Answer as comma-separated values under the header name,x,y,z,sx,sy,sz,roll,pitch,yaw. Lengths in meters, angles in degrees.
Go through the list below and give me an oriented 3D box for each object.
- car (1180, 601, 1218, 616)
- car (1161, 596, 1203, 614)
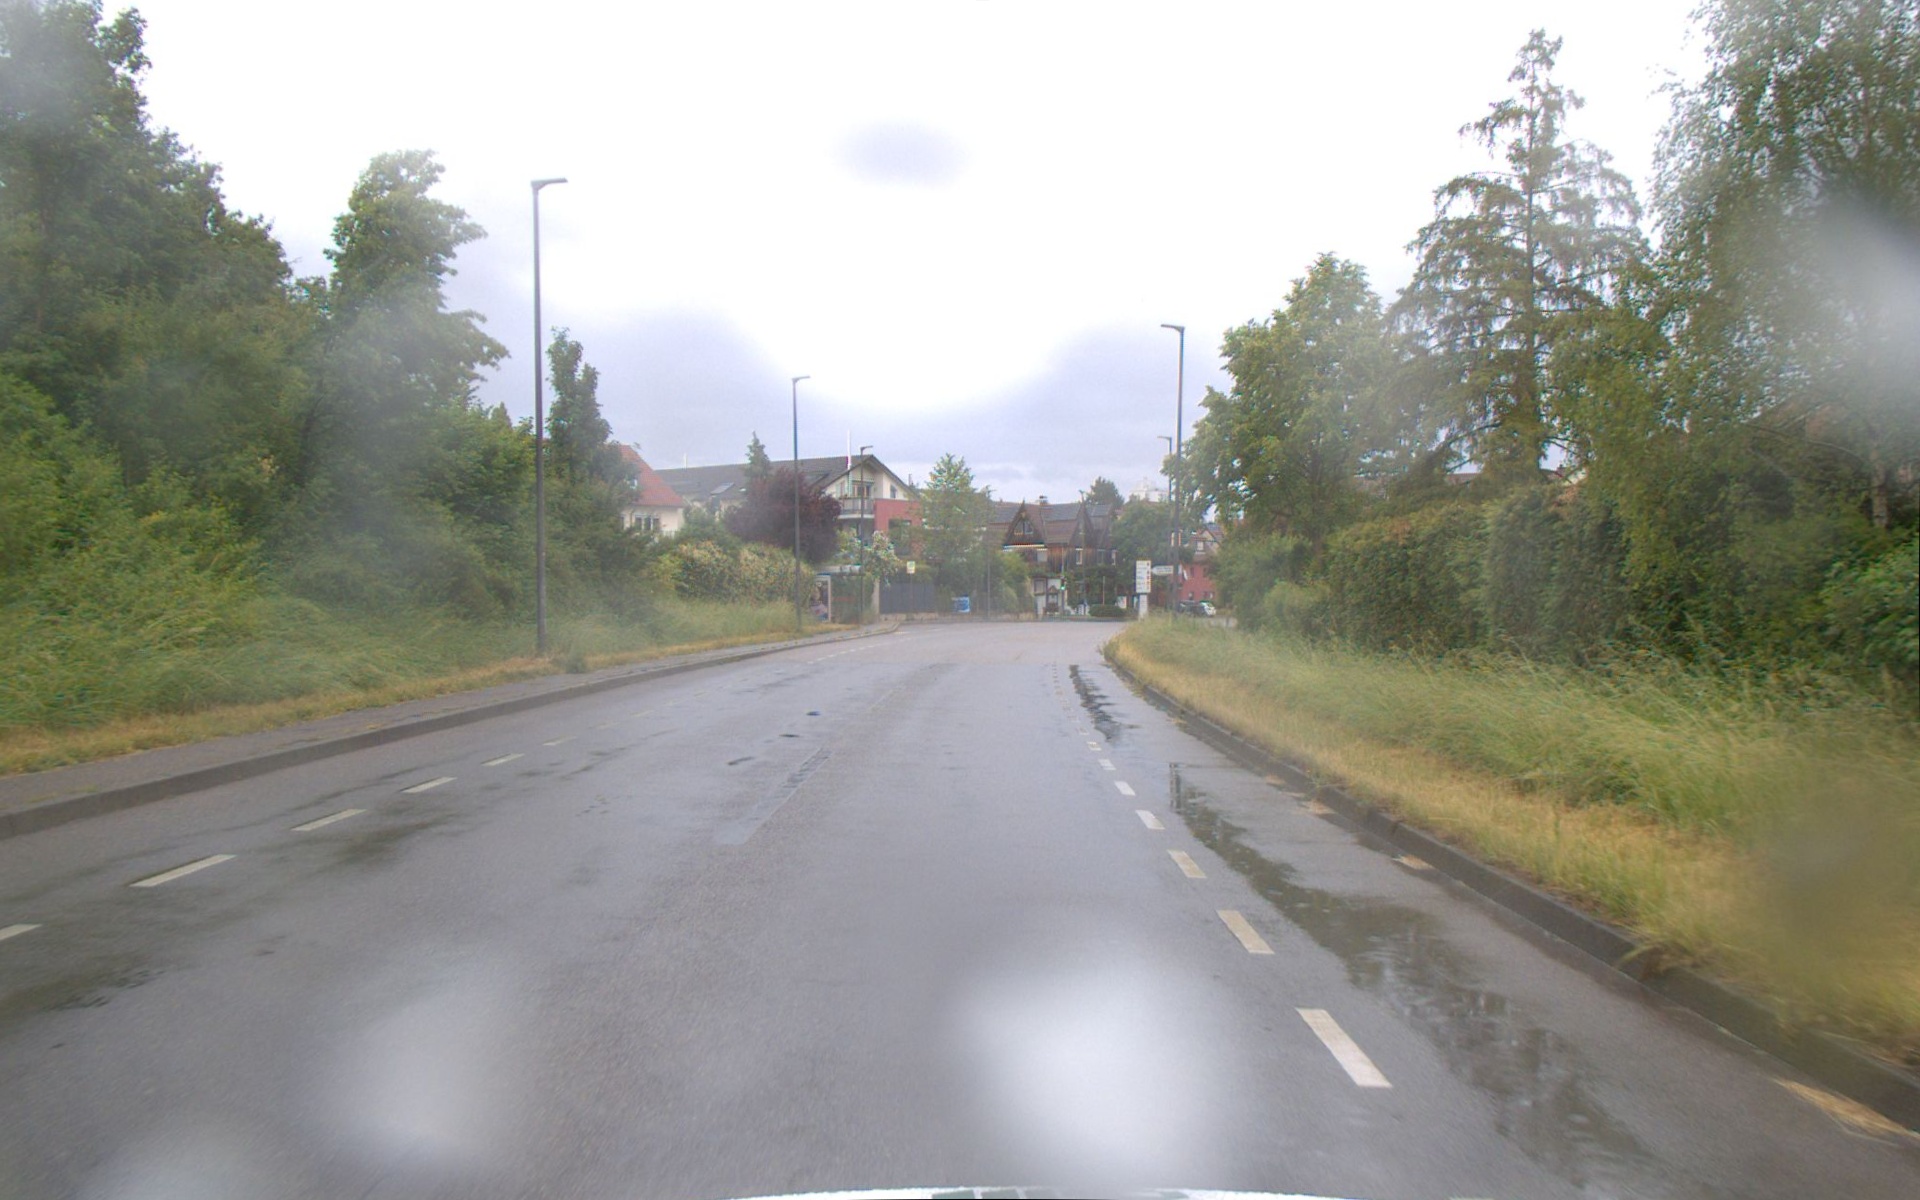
name,x,y,z,sx,sy,sz,roll,pitch,yaw
car,23.482,0.860,162.639,3.402,1.505,1.585,0,-1,35
car,21.018,0.466,156.631,3.517,1.532,1.848,3,1,37
